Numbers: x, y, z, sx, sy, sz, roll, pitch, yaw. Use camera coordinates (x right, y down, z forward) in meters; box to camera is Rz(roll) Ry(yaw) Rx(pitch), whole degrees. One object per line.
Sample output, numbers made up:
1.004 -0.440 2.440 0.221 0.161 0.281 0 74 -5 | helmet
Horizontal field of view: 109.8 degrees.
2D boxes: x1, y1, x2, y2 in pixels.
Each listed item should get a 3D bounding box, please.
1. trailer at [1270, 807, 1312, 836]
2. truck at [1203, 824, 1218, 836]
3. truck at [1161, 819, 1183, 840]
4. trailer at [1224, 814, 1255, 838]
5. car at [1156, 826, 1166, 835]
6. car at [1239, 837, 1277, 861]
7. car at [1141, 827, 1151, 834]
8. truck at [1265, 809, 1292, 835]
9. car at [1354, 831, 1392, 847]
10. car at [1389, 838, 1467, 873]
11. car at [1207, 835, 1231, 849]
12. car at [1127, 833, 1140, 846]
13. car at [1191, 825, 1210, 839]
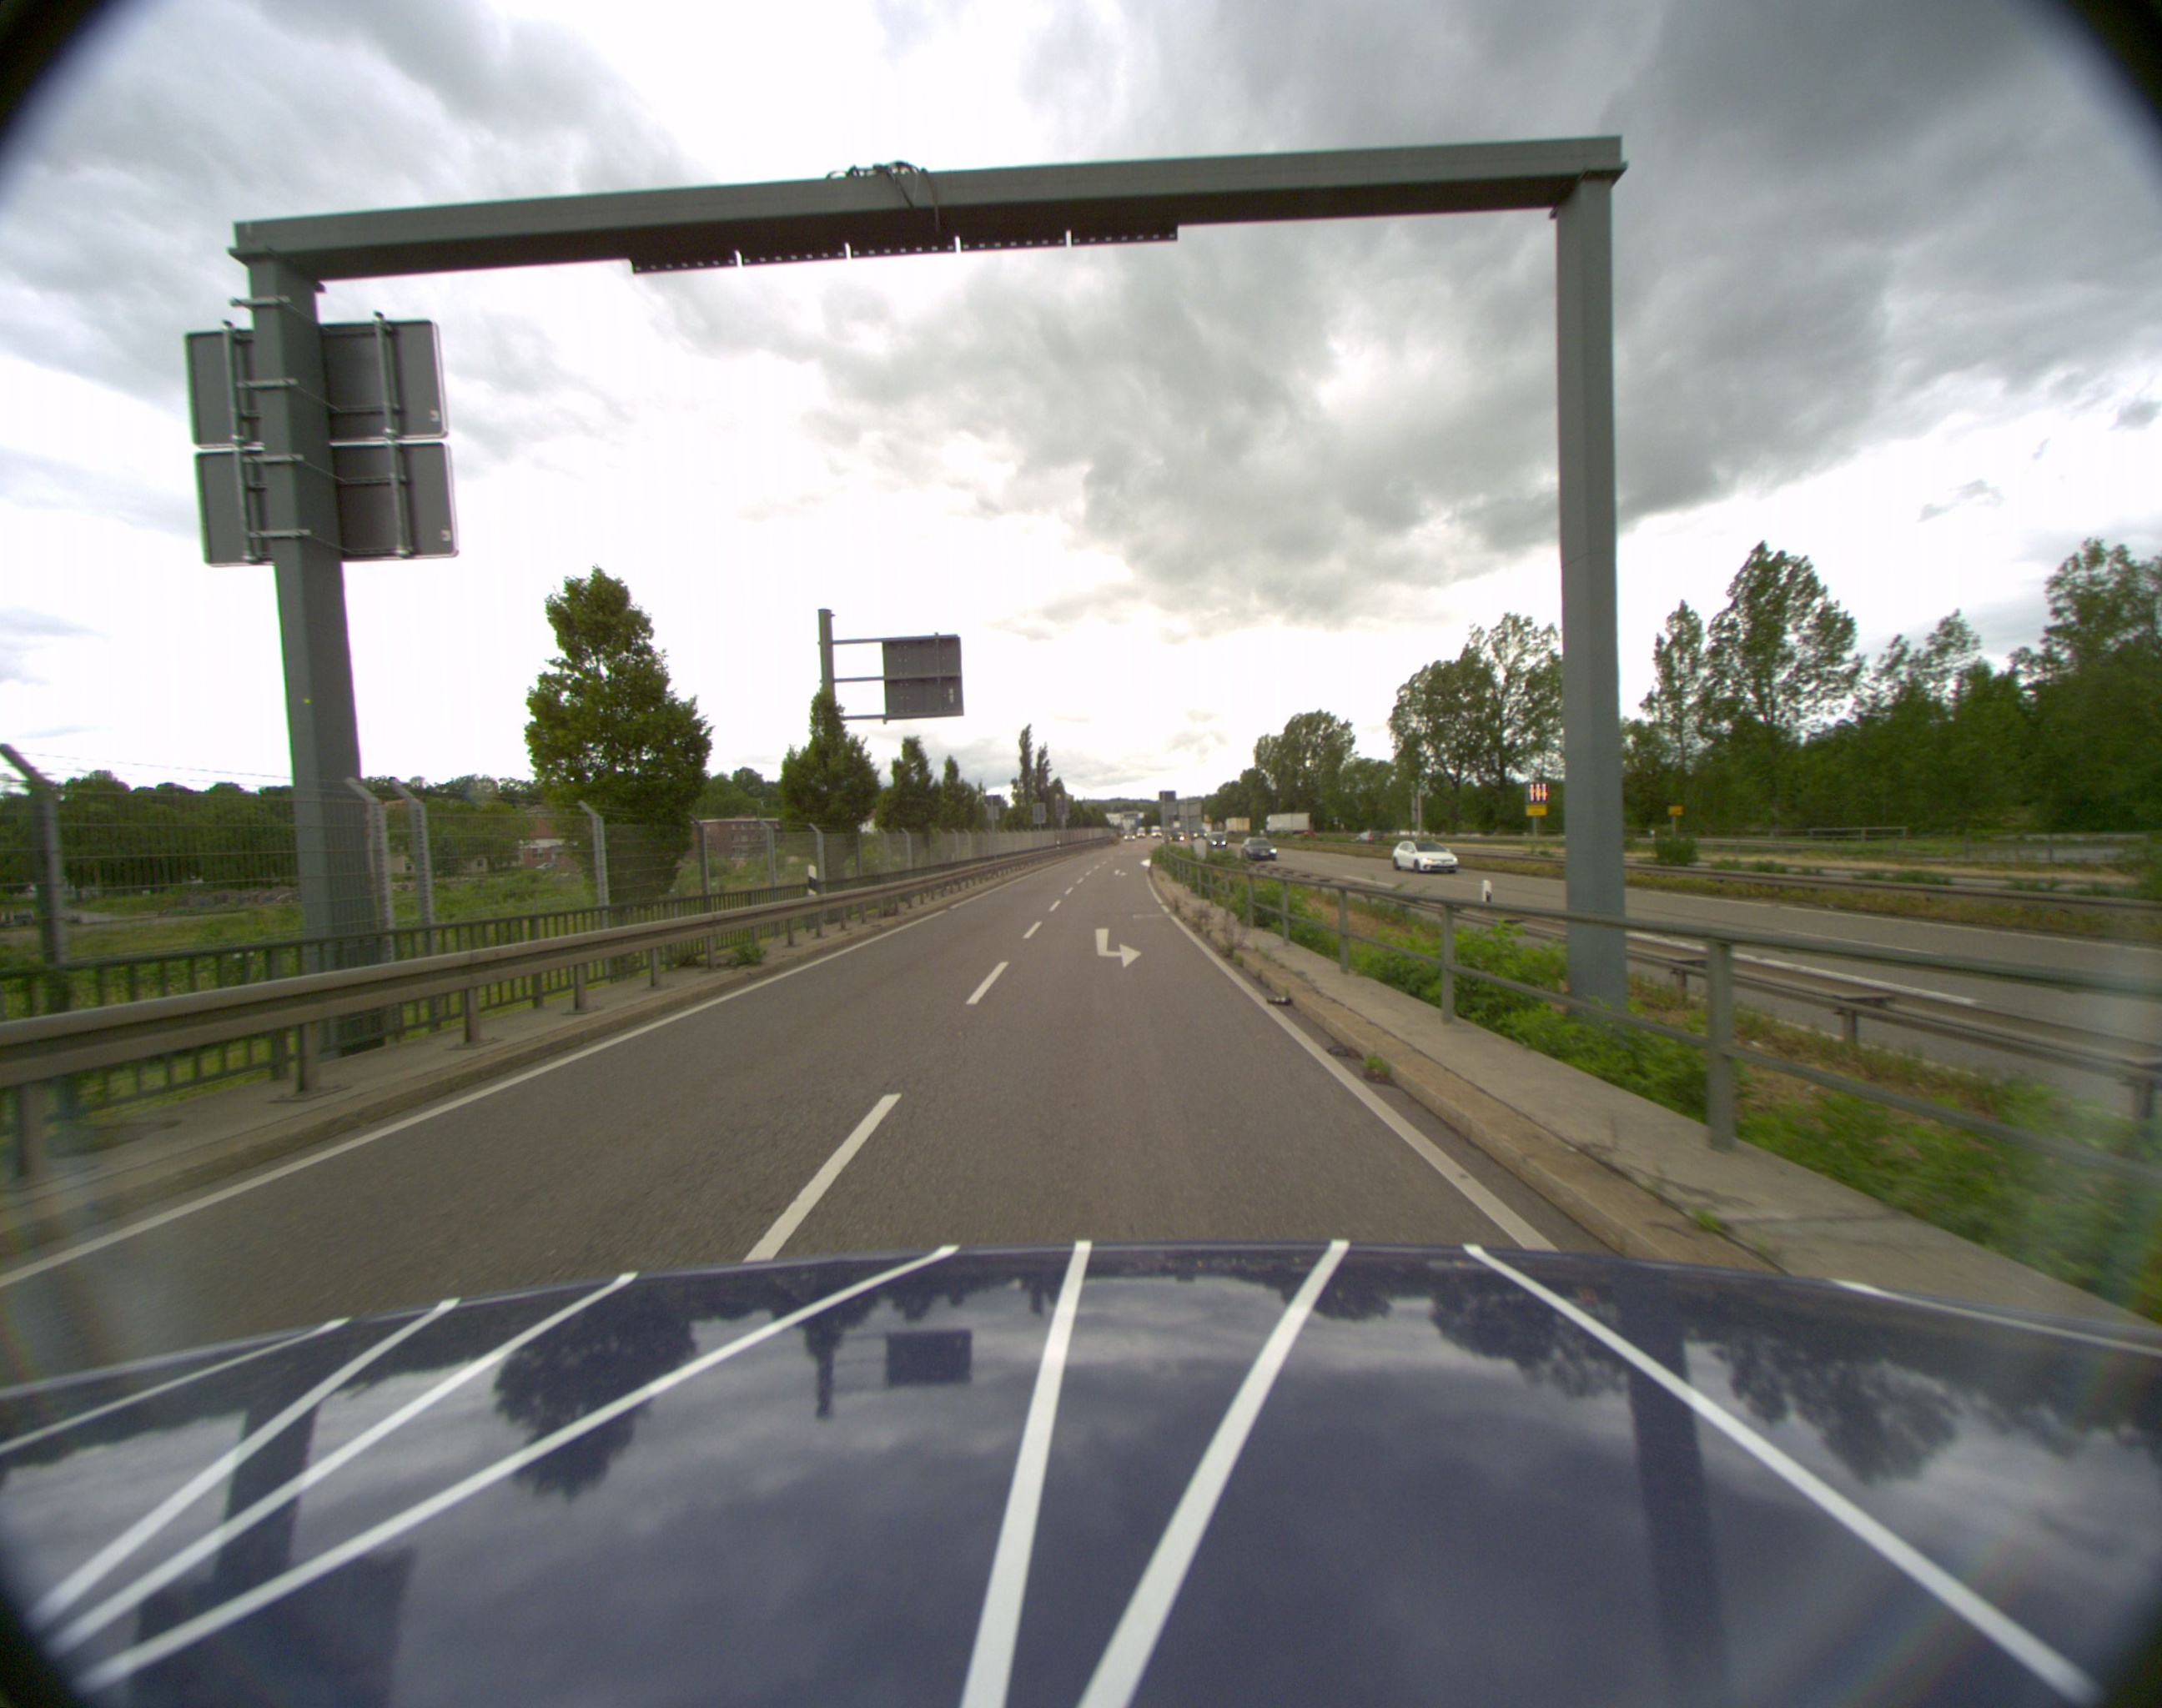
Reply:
31.087 -4.823 113.148 2.797 3.927 13.508 -3 2 1 | trailer
39.461 -7.356 232.036 2.990 3.623 6.334 -4 2 -1 | truck
14.432 -3.973 121.314 3.039 3.142 7.566 -1 3 3 | truck
33.101 -5.782 159.588 3.472 4.647 14.777 -2 2 1 | trailer
18.800 -5.538 178.764 1.998 2.002 3.999 -1 2 1 | car
11.459 -0.347 49.364 1.939 1.492 4.305 0 1 7 | car
15.522 -5.546 181.659 1.998 1.711 3.999 -1 2 1 | car
31.252 -5.107 120.365 2.796 3.916 5.310 -3 2 1 | truck
26.785 -1.397 69.825 1.998 1.427 3.999 -1 2 2 | car
16.198 0.028 35.688 1.859 1.491 3.999 -1 2 1 | car
13.615 -1.198 74.944 1.728 1.319 3.646 -1 2 0 | car
9.057 -2.546 130.611 1.997 2.003 4.000 -2 2 7 | car
18.612 -3.507 118.448 2.099 2.003 5.336 -1 3 -1 | car
